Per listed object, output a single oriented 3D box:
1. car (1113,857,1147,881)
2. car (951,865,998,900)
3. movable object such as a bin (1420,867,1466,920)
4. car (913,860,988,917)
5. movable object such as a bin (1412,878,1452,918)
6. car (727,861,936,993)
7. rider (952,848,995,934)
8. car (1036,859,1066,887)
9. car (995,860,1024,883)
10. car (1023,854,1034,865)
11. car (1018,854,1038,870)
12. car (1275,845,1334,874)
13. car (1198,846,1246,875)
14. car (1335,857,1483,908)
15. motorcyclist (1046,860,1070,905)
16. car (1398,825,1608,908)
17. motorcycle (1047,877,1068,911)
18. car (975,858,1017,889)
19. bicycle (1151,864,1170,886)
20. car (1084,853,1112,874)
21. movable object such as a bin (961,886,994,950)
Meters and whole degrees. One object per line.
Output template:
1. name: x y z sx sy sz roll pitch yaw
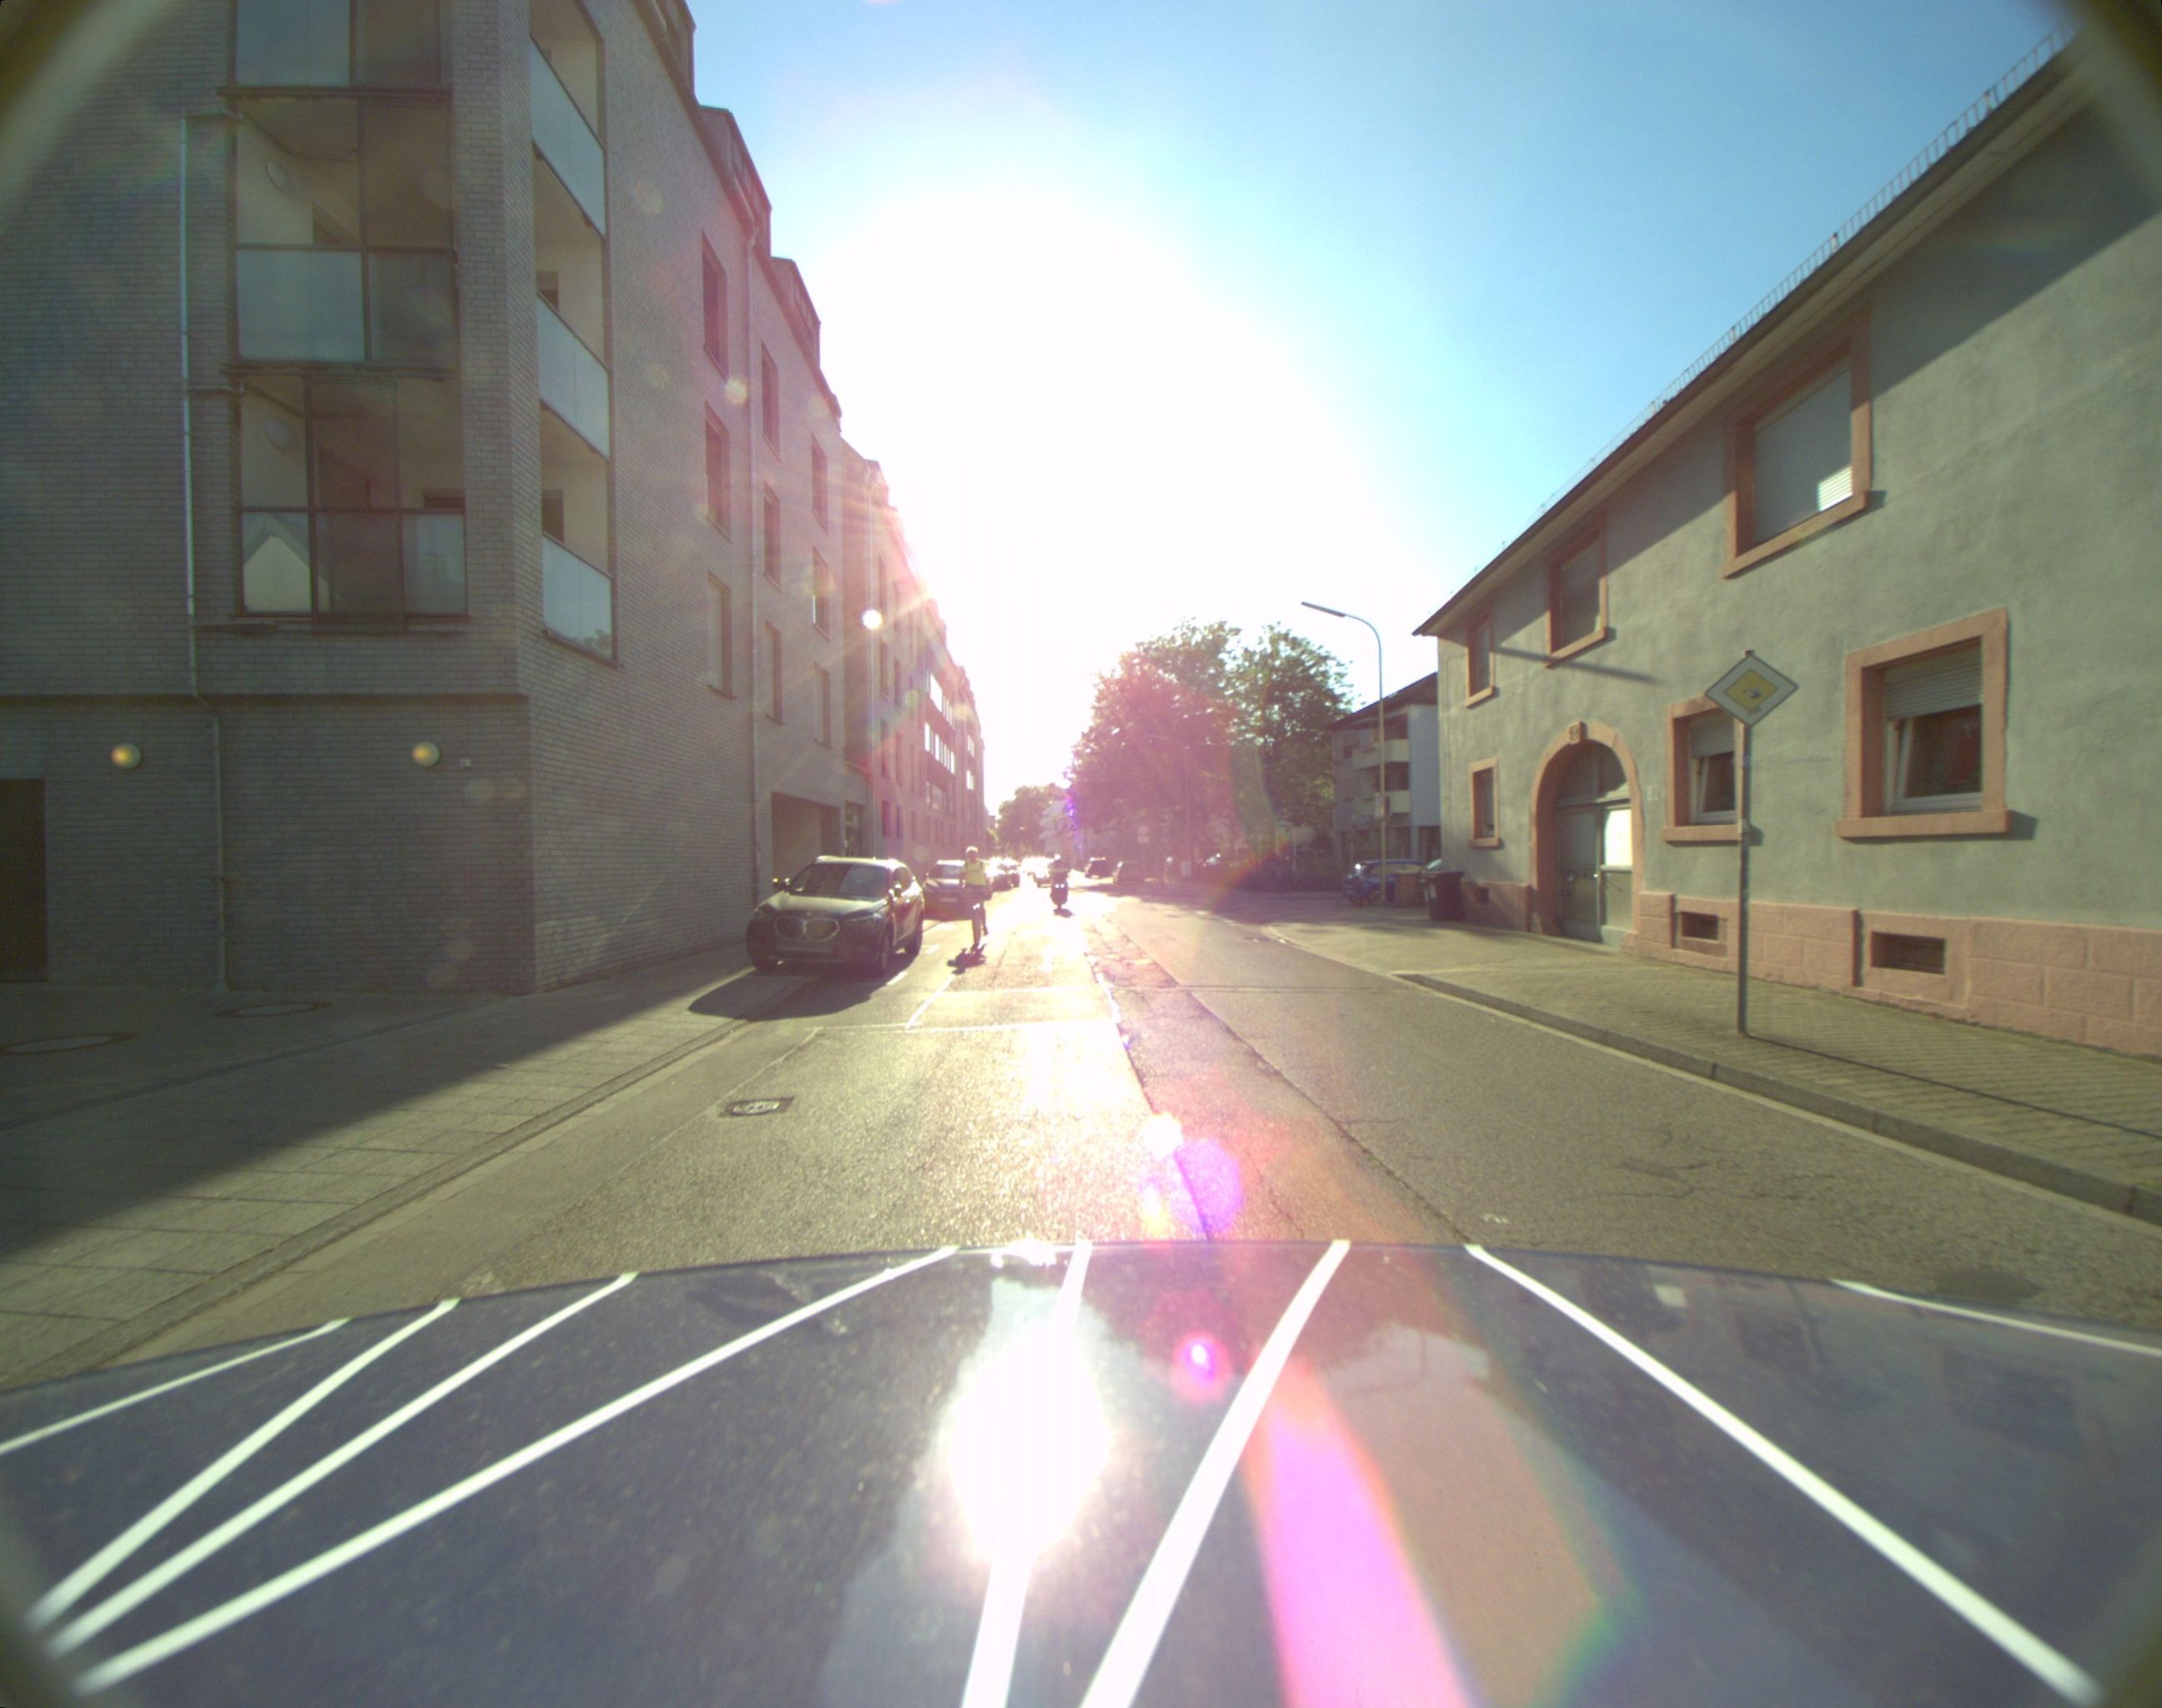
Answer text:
1. car: 3.195 0.975 50.115 1.702 1.483 3.998 -1 0 -5
2. car: -4.826 1.256 34.861 1.717 1.396 4.072 3 0 -3
3. movable object such as a bin: 7.827 0.837 16.462 0.600 1.087 0.751 -2 1 -2
4. car: -4.144 1.048 24.853 1.999 1.643 4.761 -1 -1 -5
5. movable object such as a bin: 8.012 1.007 17.365 0.600 0.867 0.606 -2 0 -5
6. car: -3.601 0.955 11.954 1.859 1.626 4.622 2 0 -2
7. rider: -2.069 0.693 14.731 0.655 1.553 1.082 -4 2 -5
8. car: -1.904 1.143 47.185 1.709 1.570 3.914 -2 1 -4
9. car: -4.804 1.141 51.532 1.822 1.458 4.268 -1 0 -5
10. car: -10.459 1.088 152.190 1.999 2.002 3.999 -1 0 -3
11. car: -5.089 0.723 73.034 1.822 1.458 4.268 -1 0 -5
12. car: 15.667 0.354 53.577 2.025 1.937 4.318 -1 0 -15
13. car: 9.731 0.451 52.724 1.849 1.884 4.903 -1 0 -7
14. car: 10.250 0.878 23.943 3.778 1.521 2.000 0 -1 -2
15. motorcyclist: -0.761 0.902 24.705 0.718 1.424 0.746 -1 1 -5
16. car: 11.127 0.364 20.275 4.375 1.783 1.988 -4 -2 -1
17. motorcycle: -0.772 1.286 24.886 0.599 1.004 1.820 -1 0 -5
18. car: -5.023 1.137 45.524 1.894 1.702 4.774 -1 -1 1
19. bicycle: 3.765 0.993 36.190 0.705 0.997 1.941 -2 0 0
20. car: 1.494 0.806 69.263 1.937 1.695 5.098 -4 0 -5
21. movable object such as a bin: -2.010 1.217 14.918 0.456 1.027 1.839 -4 2 -5
